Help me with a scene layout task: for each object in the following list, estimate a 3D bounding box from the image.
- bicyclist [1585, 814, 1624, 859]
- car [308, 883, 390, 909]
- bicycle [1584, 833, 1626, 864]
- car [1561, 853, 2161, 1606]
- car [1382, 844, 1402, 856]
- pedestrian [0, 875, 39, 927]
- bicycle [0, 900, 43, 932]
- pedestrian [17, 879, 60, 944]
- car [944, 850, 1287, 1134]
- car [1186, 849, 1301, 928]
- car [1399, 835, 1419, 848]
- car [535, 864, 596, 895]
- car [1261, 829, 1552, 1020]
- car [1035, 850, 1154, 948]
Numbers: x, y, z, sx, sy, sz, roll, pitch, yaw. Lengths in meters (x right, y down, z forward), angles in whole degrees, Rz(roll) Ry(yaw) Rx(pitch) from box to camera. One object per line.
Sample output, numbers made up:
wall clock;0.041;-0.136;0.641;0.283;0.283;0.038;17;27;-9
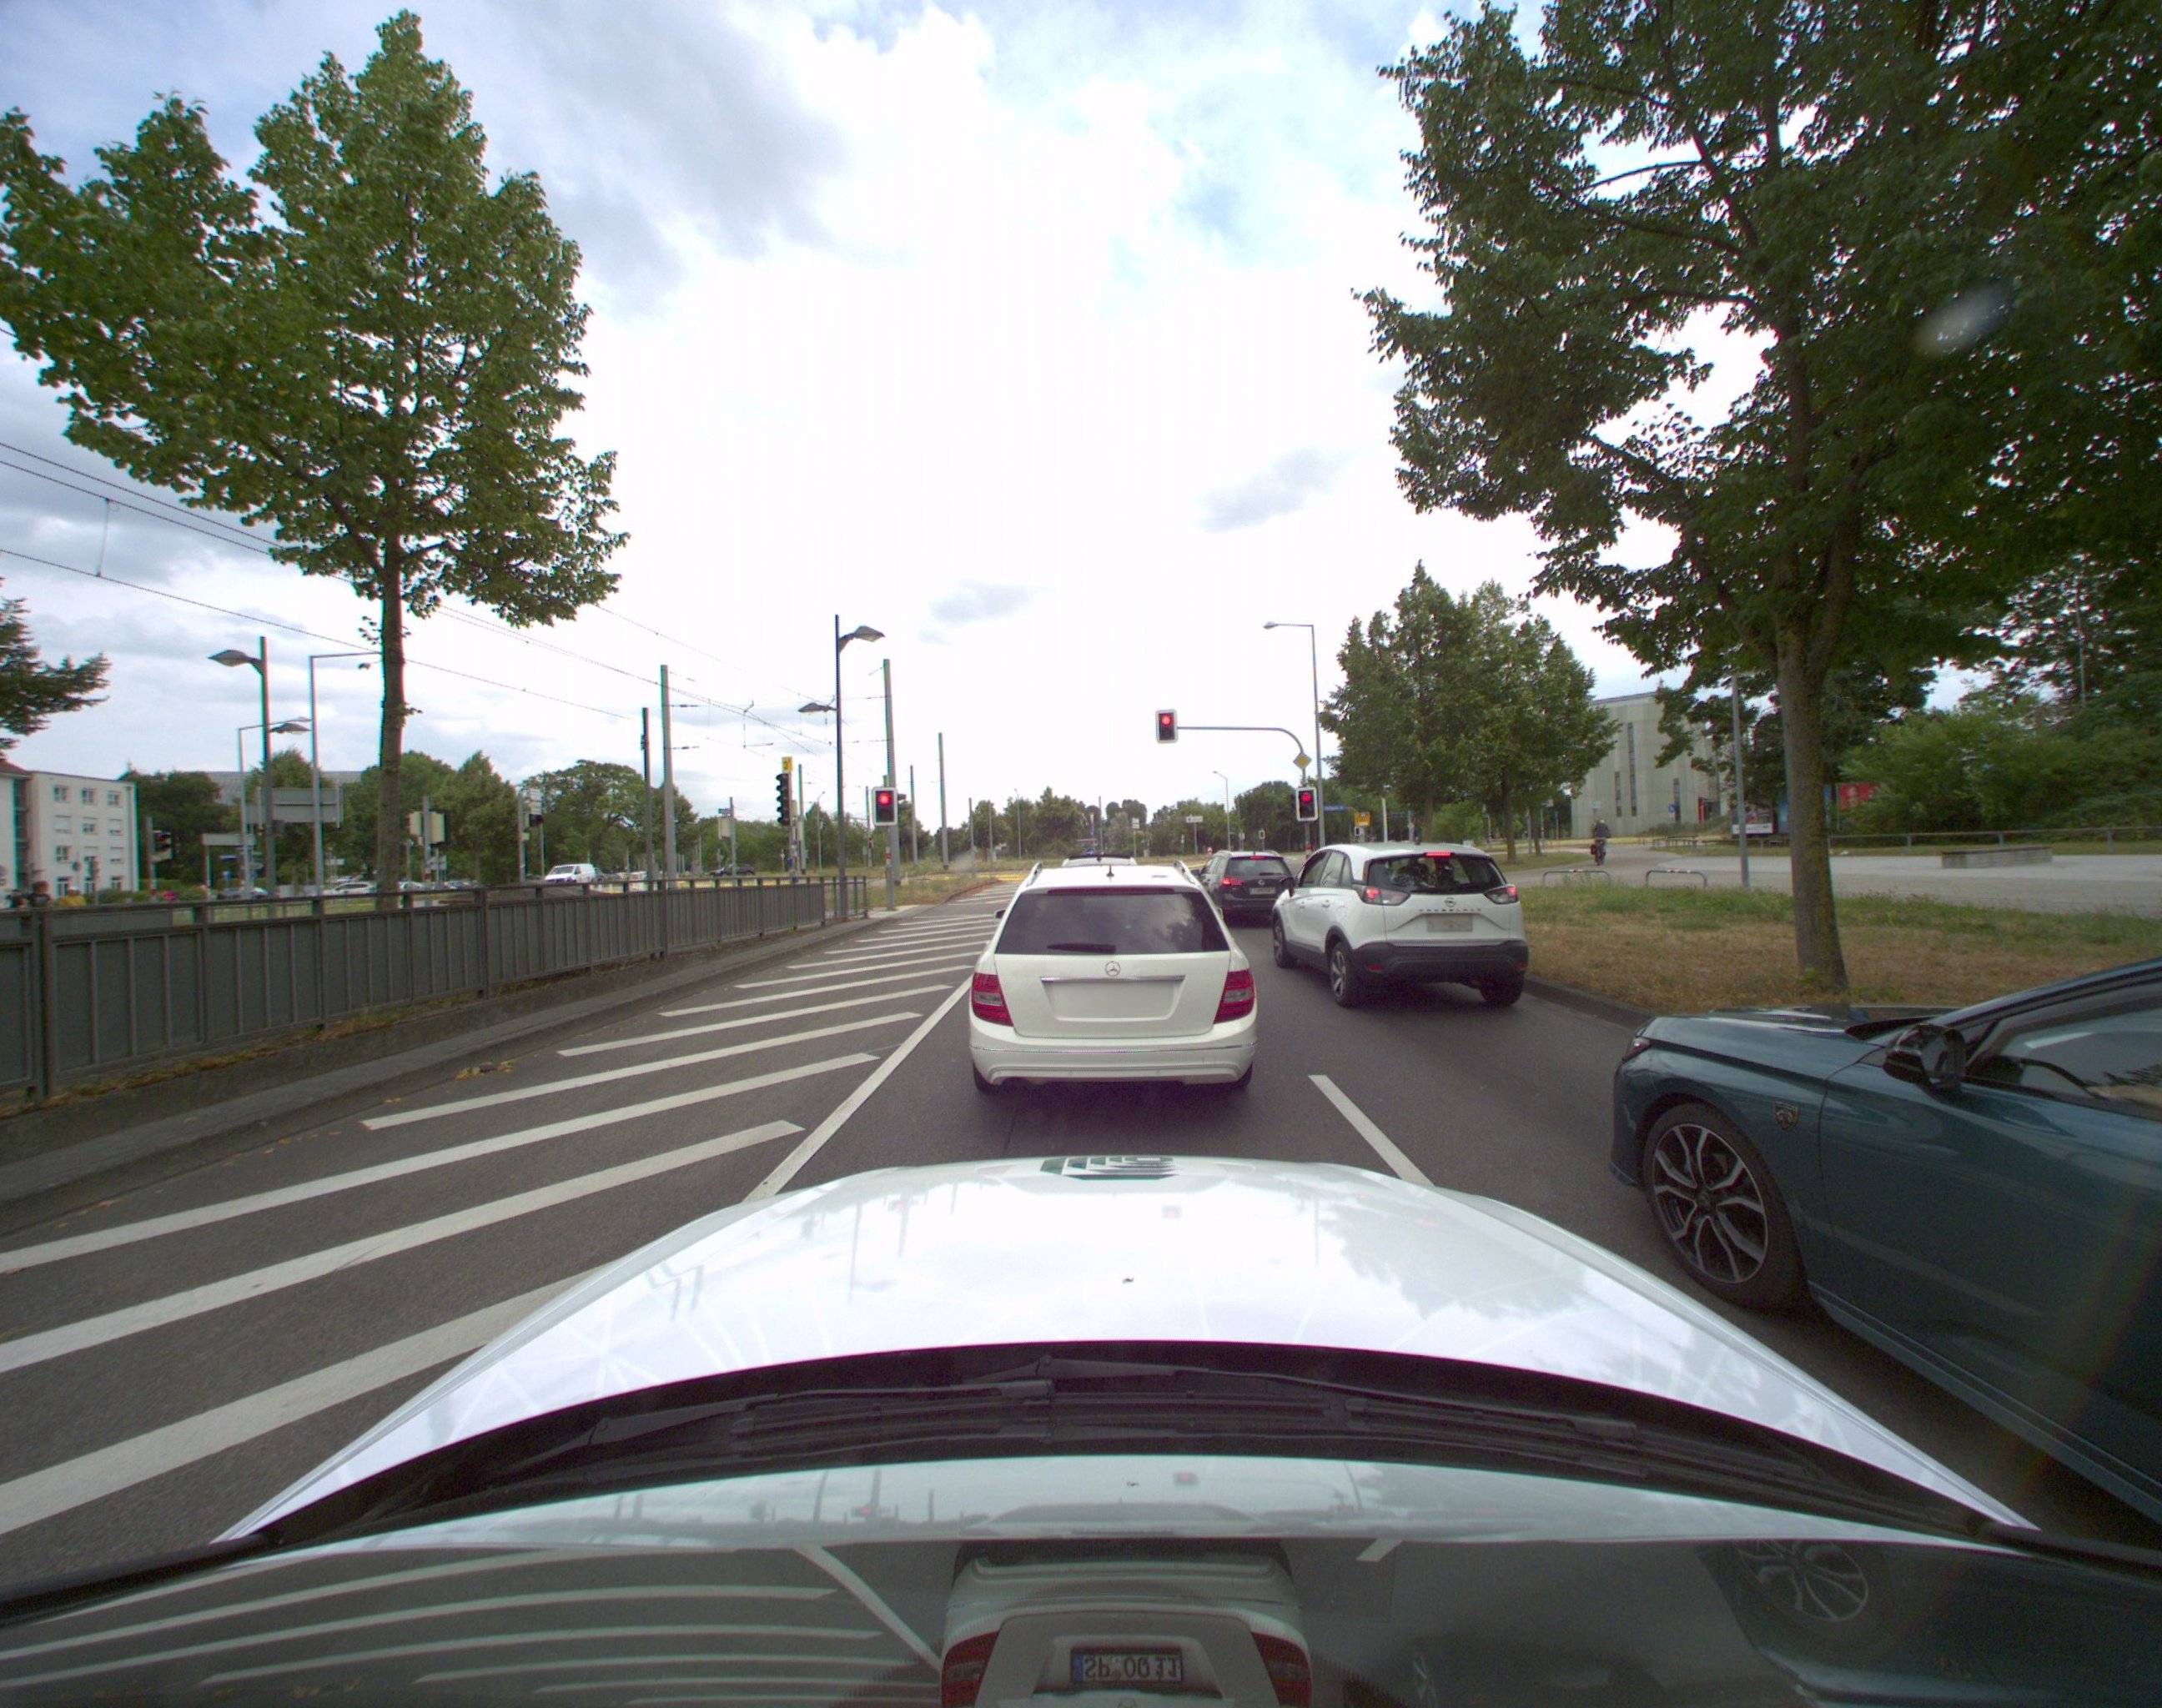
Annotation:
bicyclist;21.654;-0.728;33.677;1.136;1.737;0.988;-5;0;-43
car;-53.133;3.004;59.202;1.974;1.641;4.025;0;0;33
bicycle;21.699;-0.234;33.708;2.281;1.235;0.894;-2;0;-43
car;2.992;0.738;1.347;1.782;1.432;4.308;-1;0;-1
car;47.736;-0.594;124.918;1.974;1.791;4.025;0;0;33
pedestrian;-43.055;1.885;33.036;0.804;2.013;0.899;-2;0;-43
bicycle;-43.120;2.518;33.168;0.616;1.136;2.535;1;0;-42
pedestrian;-30.389;1.661;23.745;0.652;1.850;0.486;-2;0;-40
car;0.183;0.709;6.196;1.768;1.448;3.910;-1;0;0
car;3.297;0.633;17.195;1.619;1.448;3.910;-1;0;0
car;46.130;-1.795;114.552;1.766;1.636;4.430;-2;0;32
car;-37.616;1.820;59.598;1.994;2.013;4.981;-2;0;-11
car;3.307;0.612;9.155;1.780;1.624;3.912;-2;0;2
car;0.206;0.673;14.274;1.768;1.448;3.910;-1;0;0
